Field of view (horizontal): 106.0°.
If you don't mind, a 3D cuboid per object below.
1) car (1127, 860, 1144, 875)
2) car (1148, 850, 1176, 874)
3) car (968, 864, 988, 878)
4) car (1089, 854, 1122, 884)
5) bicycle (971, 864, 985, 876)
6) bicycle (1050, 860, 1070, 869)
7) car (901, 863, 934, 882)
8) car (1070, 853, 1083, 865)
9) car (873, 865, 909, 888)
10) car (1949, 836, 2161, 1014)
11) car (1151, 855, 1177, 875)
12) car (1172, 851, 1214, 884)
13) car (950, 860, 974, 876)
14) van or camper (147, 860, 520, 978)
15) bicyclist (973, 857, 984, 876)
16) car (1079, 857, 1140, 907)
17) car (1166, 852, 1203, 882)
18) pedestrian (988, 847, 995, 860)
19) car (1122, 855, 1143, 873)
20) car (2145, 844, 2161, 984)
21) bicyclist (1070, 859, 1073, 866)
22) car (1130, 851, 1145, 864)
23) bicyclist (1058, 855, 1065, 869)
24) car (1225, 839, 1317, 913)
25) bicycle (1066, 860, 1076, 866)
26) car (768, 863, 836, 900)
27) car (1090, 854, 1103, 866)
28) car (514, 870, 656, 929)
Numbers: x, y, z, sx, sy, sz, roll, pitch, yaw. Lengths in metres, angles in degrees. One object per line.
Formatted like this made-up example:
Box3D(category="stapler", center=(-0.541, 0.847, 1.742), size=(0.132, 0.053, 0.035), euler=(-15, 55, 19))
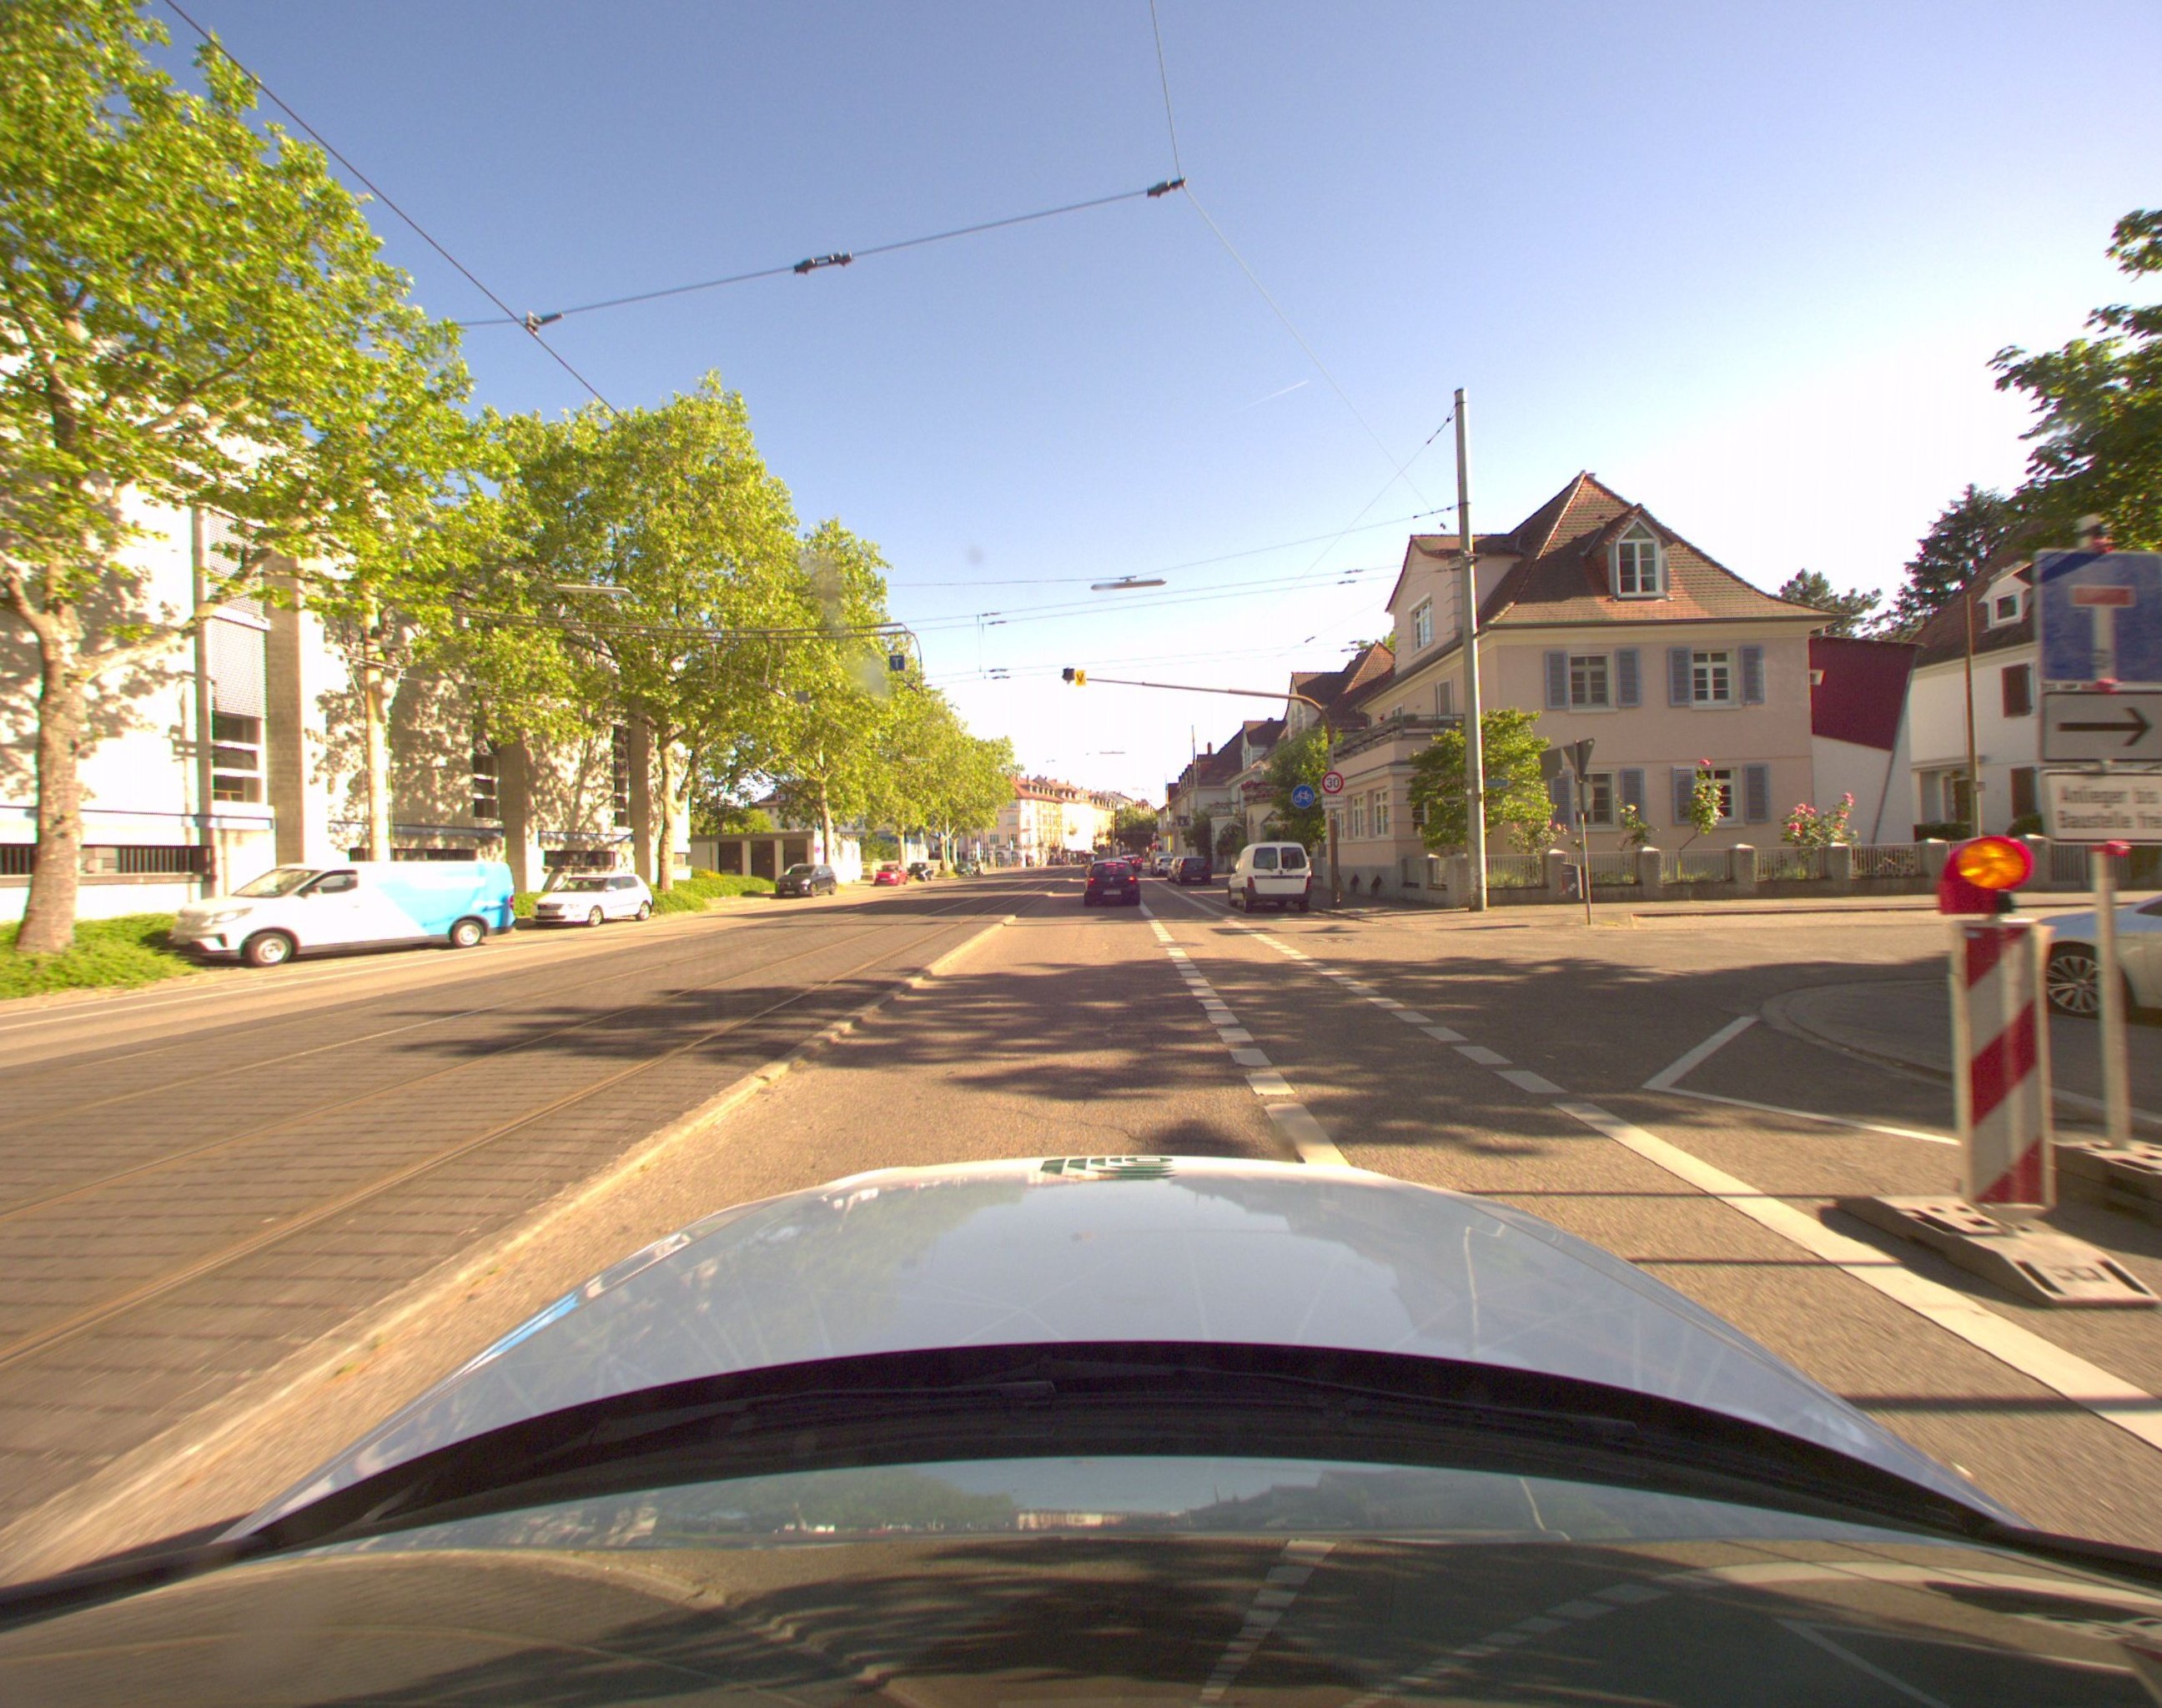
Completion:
Box3D(category="car", center=(5.883, 1.441, 87.542), size=(1.630, 1.472, 3.731), euler=(-2, 0, 2))
Box3D(category="car", center=(6.365, 0.611, 64.317), size=(1.810, 1.799, 4.001), euler=(-2, 0, 2))
Box3D(category="car", center=(-11.717, 1.907, 92.446), size=(1.630, 1.472, 3.731), euler=(-2, 0, 2))
Box3D(category="car", center=(1.403, 0.801, 45.524), size=(1.742, 1.537, 3.894), euler=(-2, 0, 2))
Box3D(category="bicycle", center=(-10.141, 1.575, 80.352), size=(0.910, 1.083, 3.204), euler=(0, 0, 2))
Box3D(category="bicycle", center=(-3.041, 1.534, 118.317), size=(2.732, 1.262, 0.706), euler=(0, 0, 1))
Box3D(category="car", center=(-13.300, 1.467, 66.490), size=(1.786, 1.465, 3.837), euler=(1, 0, 2))
Box3D(category="car", center=(-0.563, 0.675, 103.678), size=(1.630, 1.472, 3.731), euler=(0, 0, 2))
Box3D(category="car", center=(-13.346, 1.561, 57.404), size=(1.564, 1.533, 3.573), euler=(-2, -1, 2))
Box3D(category="car", center=(9.271, 0.482, 5.613), size=(1.697, 1.389, 4.514), euler=(-3, -3, 0))
Box3D(category="car", center=(6.003, 0.785, 59.350), size=(1.574, 1.375, 4.001), euler=(-2, 0, 2))
Box3D(category="car", center=(5.688, 0.666, 41.702), size=(1.654, 1.526, 4.038), euler=(-2, 0, 2))
Box3D(category="car", center=(-12.567, 1.458, 86.015), size=(1.877, 1.669, 3.805), euler=(0, 0, 1))
Box3D(category="van or camper", center=(-14.779, 1.123, 16.611), size=(2.042, 1.949, 5.217), euler=(0, 0, 22))
Box3D(category="bicyclist", center=(-10.140, 1.200, 80.395), size=(0.910, 1.833, 0.960), euler=(0, 0, 1))
Box3D(category="car", center=(0.849, 0.831, 25.853), size=(1.743, 1.375, 4.000), euler=(-2, 0, 0))
Box3D(category="car", center=(5.813, 0.708, 46.065), size=(1.742, 1.537, 3.957), euler=(-2, 0, 2))
Box3D(category="pedestrian", center=(-17.924, -0.139, 162.671), size=(1.220, 2.540, 1.349), euler=(0, 0, -3))
Box3D(category="car", center=(4.469, 0.830, 70.577), size=(1.630, 1.472, 3.731), euler=(-2, 0, 2))
Box3D(category="car", center=(12.116, 0.490, 6.304), size=(1.768, 1.458, 4.514), euler=(-3, -3, 0))
Box3D(category="bicyclist", center=(-1.872, 1.599, 160.550), size=(0.680, 1.336, 0.922), euler=(0, 0, -2))
Box3D(category="car", center=(6.633, 0.405, 95.637), size=(1.630, 1.472, 3.731), euler=(-2, 0, 2))
Box3D(category="bicyclist", center=(-2.822, 1.146, 118.308), size=(0.873, 2.009, 0.706), euler=(0, 0, 1))
Box3D(category="car", center=(5.026, 0.530, 21.944), size=(1.752, 1.838, 3.549), euler=(0, 0, 2))
Box3D(category="bicycle", center=(-1.946, 1.779, 160.534), size=(2.081, 1.141, 0.922), euler=(0, 0, -2))
Box3D(category="car", center=(-14.004, 1.354, 41.091), size=(1.881, 1.666, 4.001), euler=(-2, 0, 2))
Box3D(category="car", center=(2.022, 0.813, 104.422), size=(1.630, 1.472, 3.731), euler=(-2, 0, 2))
Box3D(category="car", center=(-14.488, 1.271, 24.069), size=(1.568, 1.507, 4.092), euler=(0, 0, 2))
